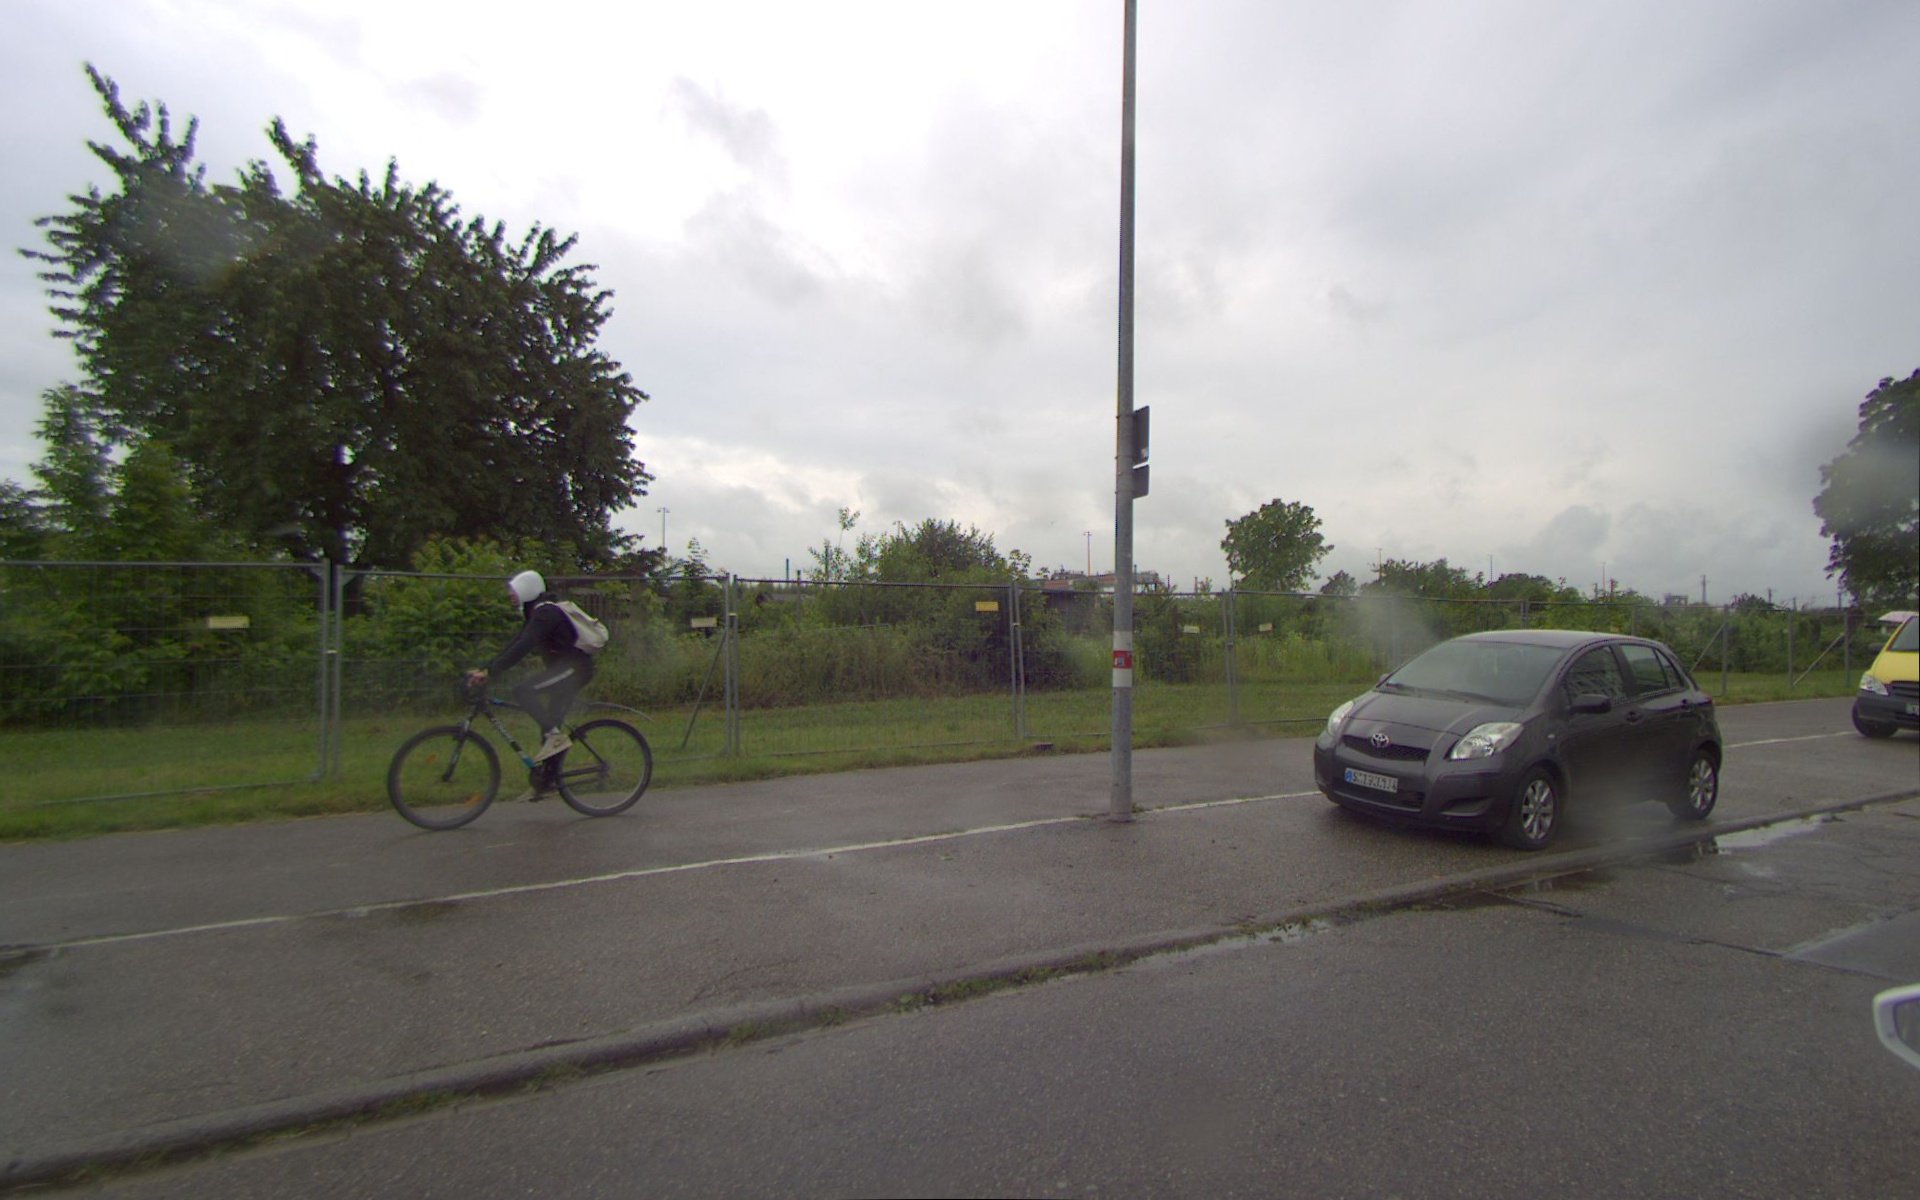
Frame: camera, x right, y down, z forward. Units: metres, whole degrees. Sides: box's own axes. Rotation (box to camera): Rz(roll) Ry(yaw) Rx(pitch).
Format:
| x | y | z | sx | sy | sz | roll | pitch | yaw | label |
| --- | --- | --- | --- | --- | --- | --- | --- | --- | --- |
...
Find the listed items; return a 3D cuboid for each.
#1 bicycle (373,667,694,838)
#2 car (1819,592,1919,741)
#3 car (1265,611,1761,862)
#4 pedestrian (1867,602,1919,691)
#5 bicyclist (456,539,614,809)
| x | y | z | sx | sy | sz | roll | pitch | yaw | label |
| --- | --- | --- | --- | --- | --- | --- | --- | --- | --- |
| -3.131 | 1.061 | 7.478 | 2.119 | 1.056 | 0.713 | 1 | -1 | -30 | bicycle |
| 15.317 | 0.964 | 14.967 | 5.995 | 1.982 | 2.007 | 2 | 0 | -31 | car |
| 4.646 | 0.931 | 8.341 | 3.985 | 1.582 | 1.795 | 1 | 1 | -30 | car |
| 21.973 | 1.075 | 23.579 | 0.968 | 2.040 | 0.739 | 1 | -1 | -30 | pedestrian |
| -3.160 | 0.517 | 7.462 | 0.996 | 1.854 | 0.695 | 1 | -1 | -30 | bicyclist |
